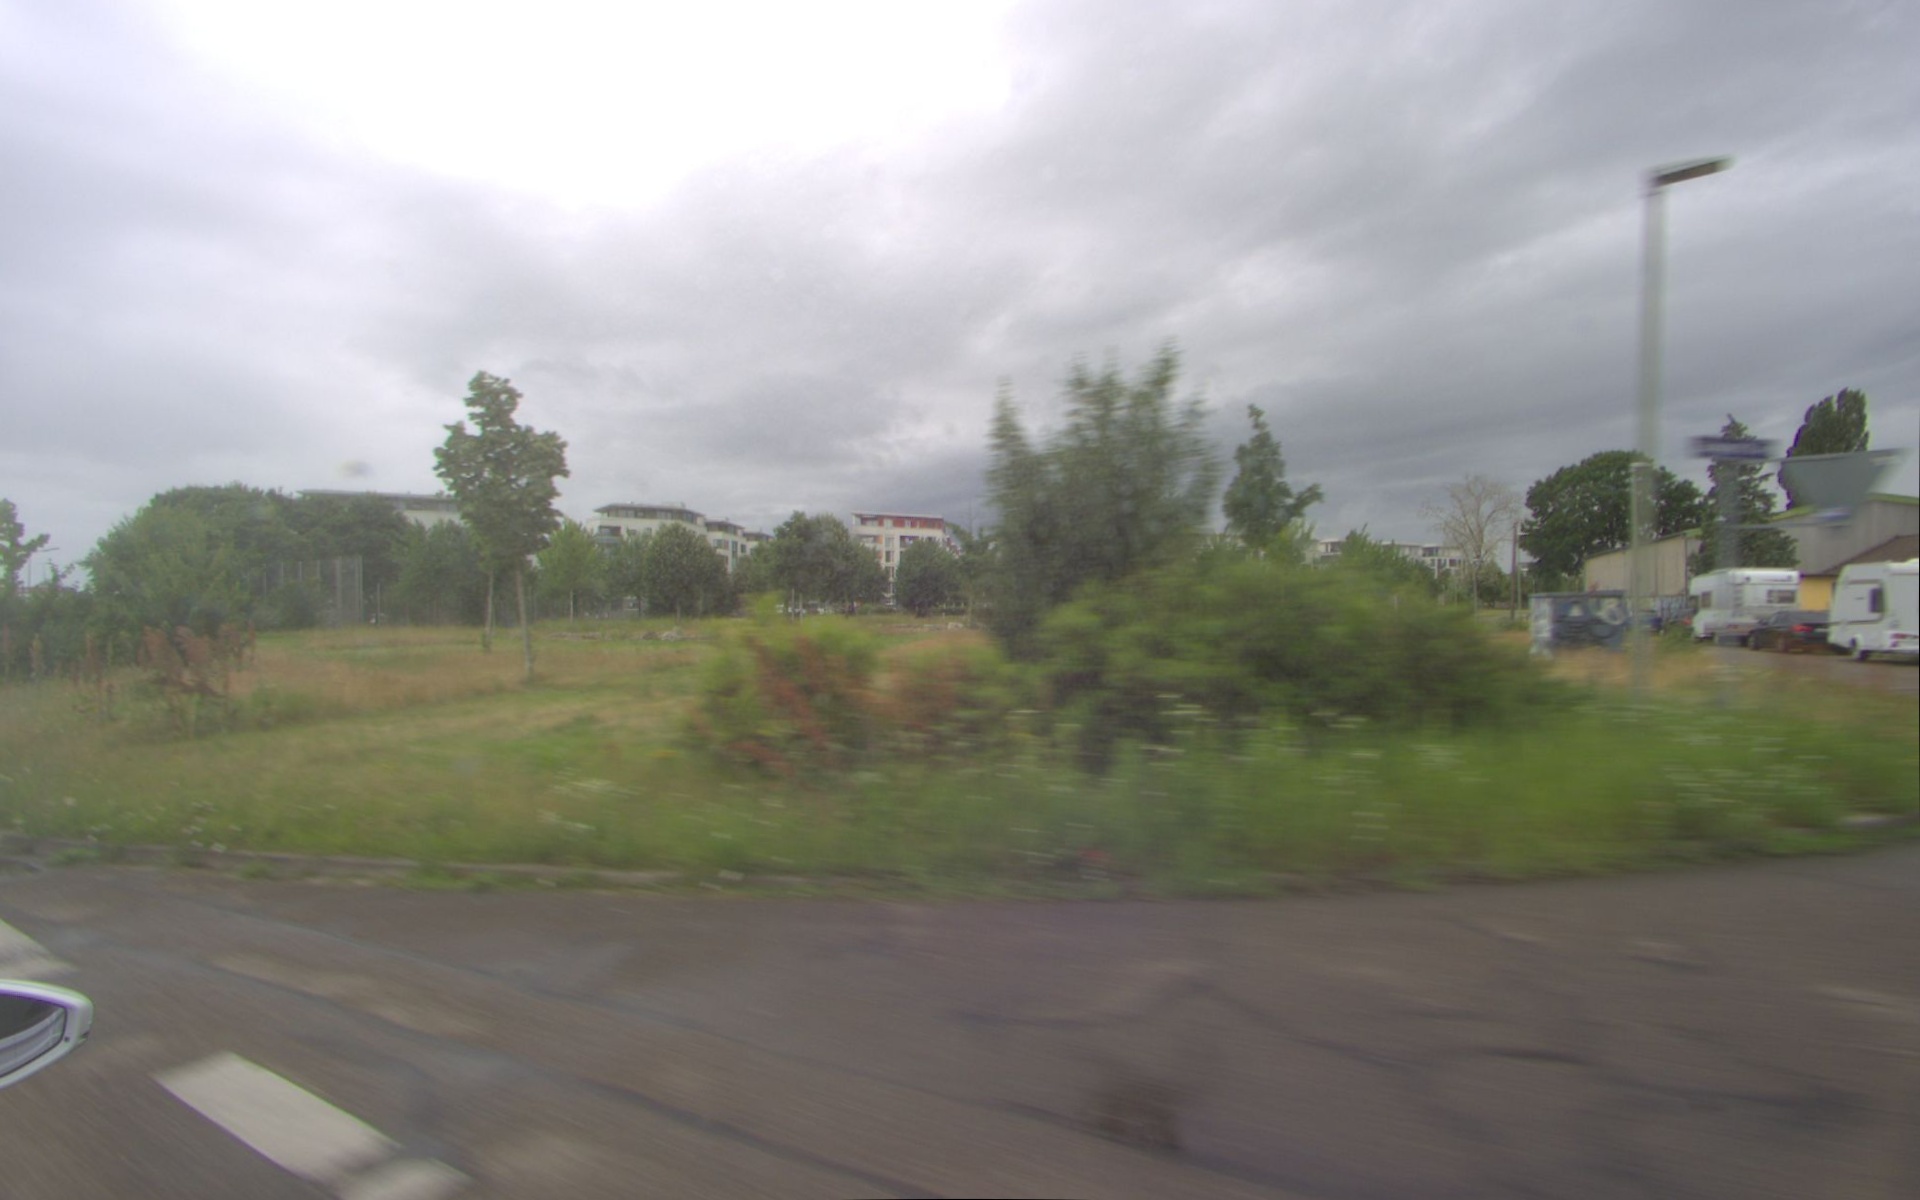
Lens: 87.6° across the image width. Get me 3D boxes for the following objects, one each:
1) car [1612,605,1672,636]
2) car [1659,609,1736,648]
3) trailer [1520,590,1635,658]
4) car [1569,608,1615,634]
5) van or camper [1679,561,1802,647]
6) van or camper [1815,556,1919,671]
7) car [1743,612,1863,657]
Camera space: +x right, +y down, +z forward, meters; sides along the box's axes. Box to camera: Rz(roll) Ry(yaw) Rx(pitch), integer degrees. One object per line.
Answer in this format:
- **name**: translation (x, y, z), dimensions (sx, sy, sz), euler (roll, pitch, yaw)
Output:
- **car**: translation (38.173, 1.111, 56.171), dimensions (1.966, 1.595, 4.271), euler (3, 1, 24)
- **car**: translation (33.696, 1.255, 45.882), dimensions (1.966, 1.595, 3.922), euler (3, 1, 24)
- **trailer**: translation (15.492, 0.558, 25.334), dimensions (1.728, 1.553, 4.110), euler (1, 0, 21)
- **car**: translation (43.041, 1.378, 68.307), dimensions (1.966, 1.595, 4.578), euler (3, 1, 24)
- **van or camper**: translation (31.049, 0.167, 40.075), dimensions (2.232, 3.153, 6.058), euler (1, 0, 22)
- **van or camper**: translation (25.517, 0.348, 26.986), dimensions (2.376, 2.870, 5.163), euler (1, 0, 25)
- **car**: translation (28.114, 1.106, 33.564), dimensions (1.880, 1.403, 4.279), euler (0, 0, 23)
